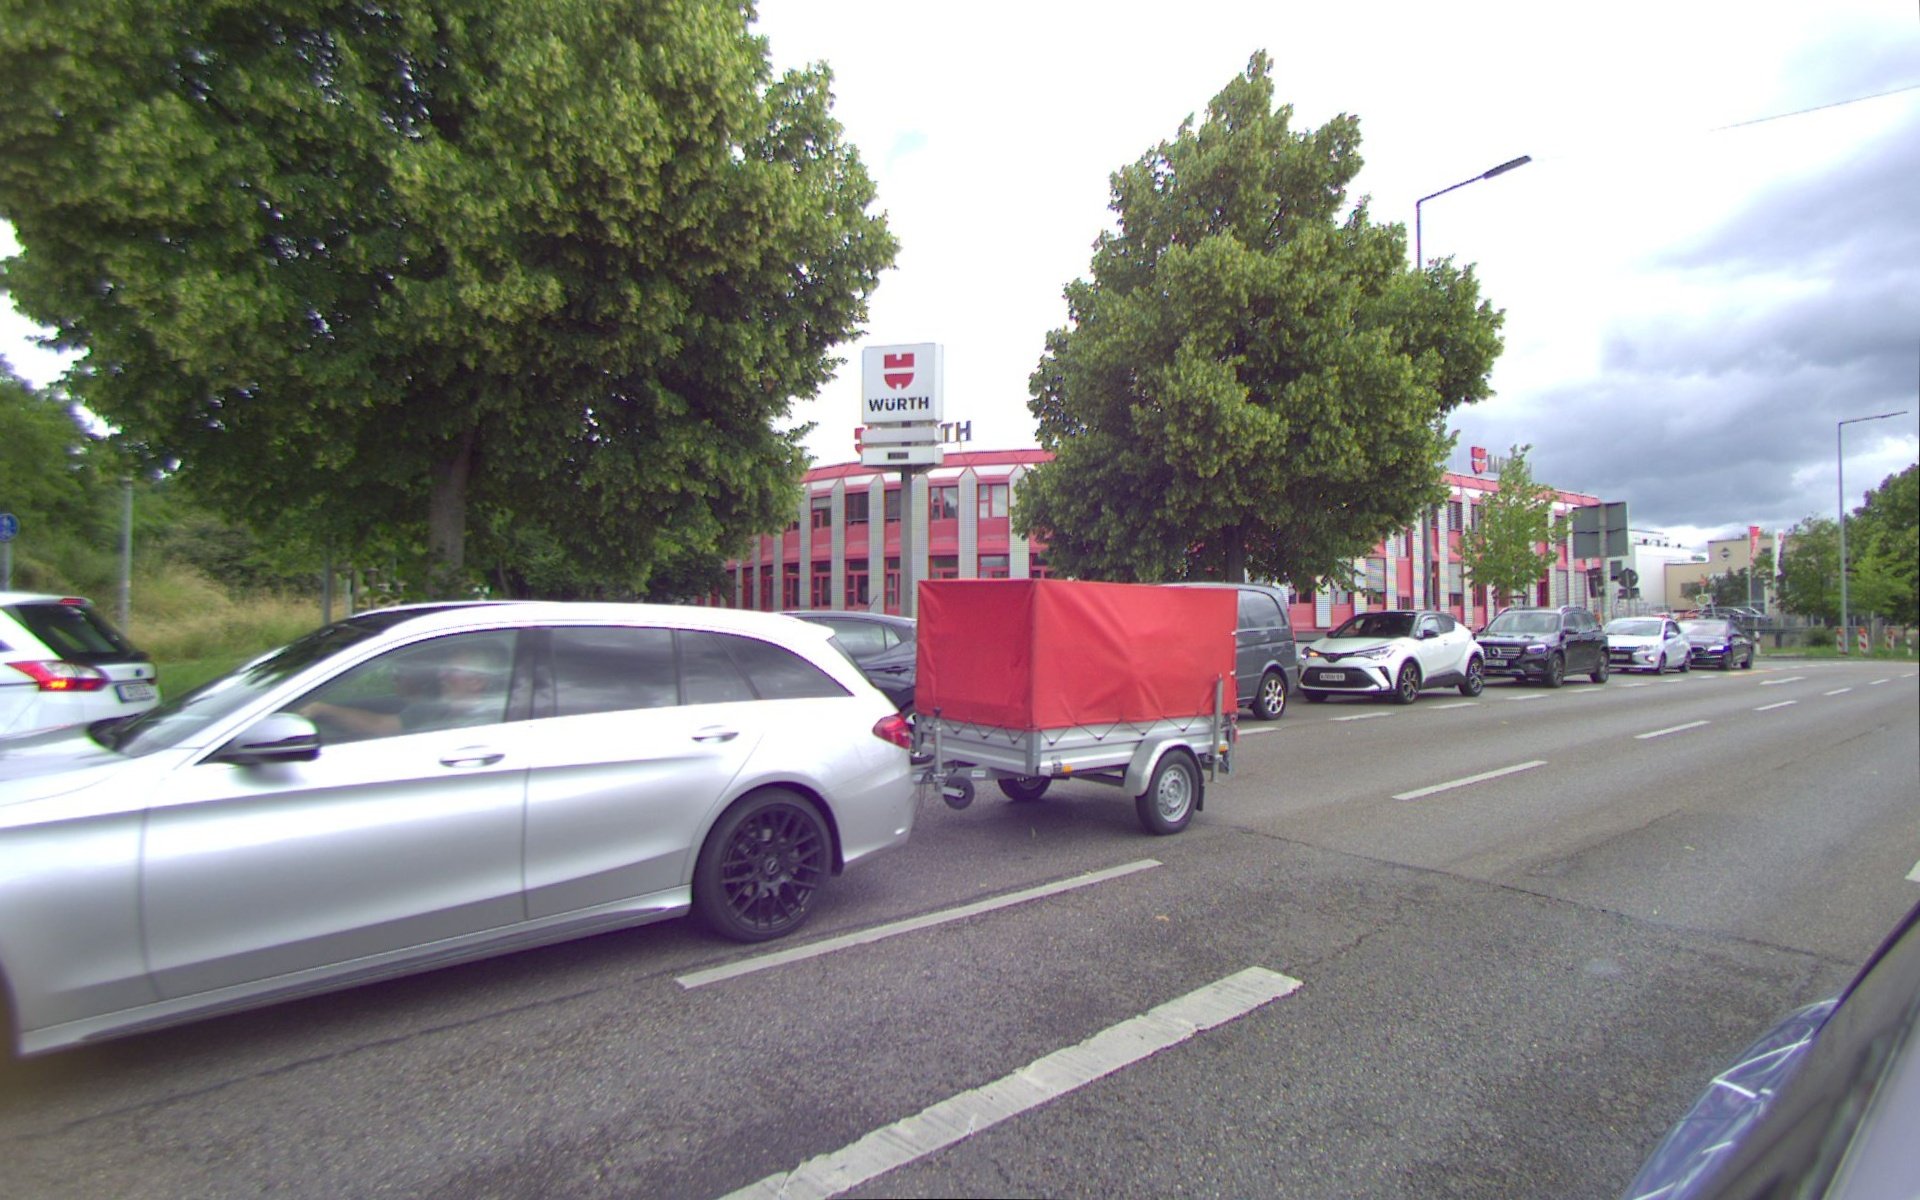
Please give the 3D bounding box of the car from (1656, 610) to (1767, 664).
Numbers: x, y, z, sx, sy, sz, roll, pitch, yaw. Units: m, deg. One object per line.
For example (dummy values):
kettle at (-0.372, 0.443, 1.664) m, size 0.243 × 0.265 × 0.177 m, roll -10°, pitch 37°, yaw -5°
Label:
car at (22.190, 1.034, 29.839) m, size 4.293 × 1.458 × 1.761 m, roll 0°, pitch -1°, yaw -41°

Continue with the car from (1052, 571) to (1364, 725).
car at (3.548, 0.622, 14.000) m, size 4.591 × 1.798 × 1.761 m, roll 1°, pitch -4°, yaw -40°

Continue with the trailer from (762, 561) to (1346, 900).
trailer at (0.817, 0.619, 6.975) m, size 3.926 × 1.680 × 1.774 m, roll -1°, pitch 0°, yaw -40°

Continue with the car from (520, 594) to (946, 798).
car at (-2.044, 0.764, 9.384) m, size 3.495 × 1.526 × 1.607 m, roll -1°, pitch -3°, yaw -34°

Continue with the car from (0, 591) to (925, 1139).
car at (-2.363, 0.714, 4.172) m, size 4.326 × 1.469 × 1.773 m, roll -1°, pitch 1°, yaw -42°

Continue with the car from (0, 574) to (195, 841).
car at (-7.892, 0.665, 6.600) m, size 4.278 × 1.676 × 1.768 m, roll 0°, pitch 0°, yaw -20°

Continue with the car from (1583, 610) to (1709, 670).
car at (18.350, 1.002, 26.997) m, size 4.293 × 1.458 × 1.761 m, roll 0°, pitch -1°, yaw -41°

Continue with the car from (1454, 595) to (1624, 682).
car at (12.391, 0.807, 21.577) m, size 4.133 × 1.679 × 1.863 m, roll 1°, pitch -3°, yaw -41°

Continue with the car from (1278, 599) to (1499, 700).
car at (7.398, 0.803, 17.327) m, size 4.034 × 1.536 × 1.842 m, roll 0°, pitch -4°, yaw -41°
